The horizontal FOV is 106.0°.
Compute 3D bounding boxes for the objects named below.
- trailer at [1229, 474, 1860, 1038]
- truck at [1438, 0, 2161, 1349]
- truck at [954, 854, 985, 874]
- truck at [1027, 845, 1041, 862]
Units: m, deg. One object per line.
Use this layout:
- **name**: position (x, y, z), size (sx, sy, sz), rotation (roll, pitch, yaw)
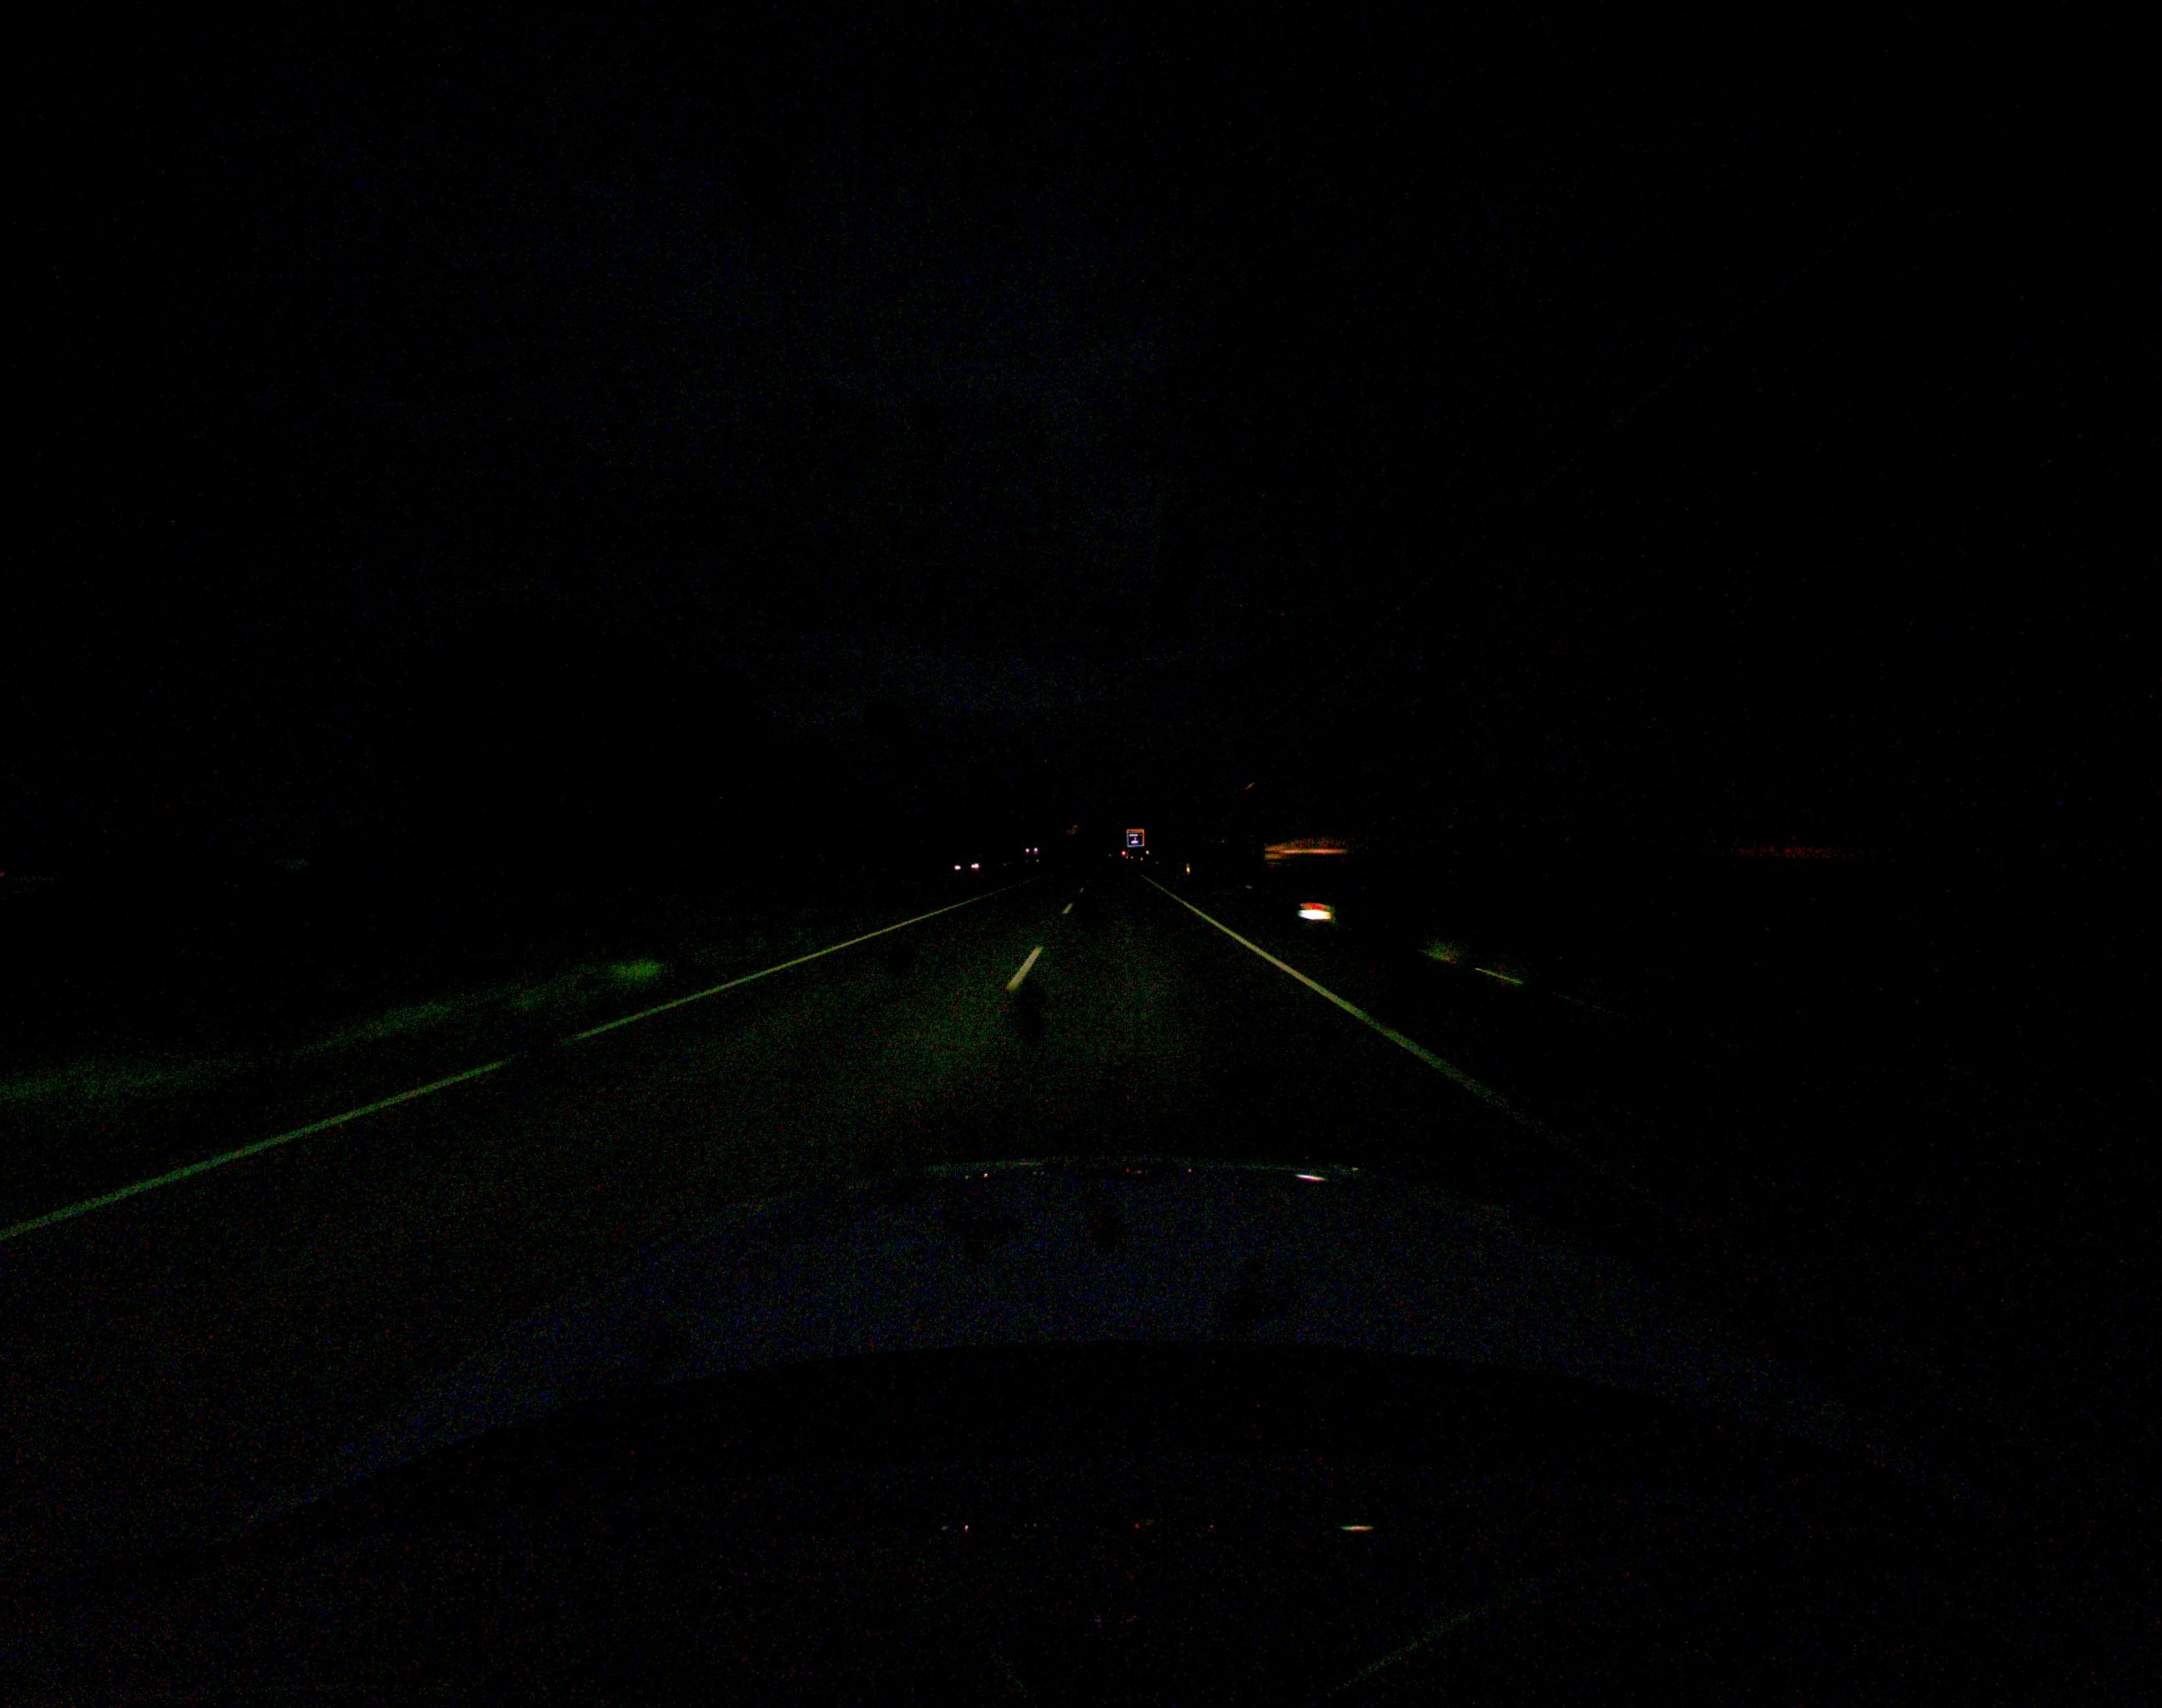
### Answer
- **trailer**: position (4.614, -0.739, 12.534), size (2.612, 4.104, 12.943), rotation (-2, 0, 2)
- **truck**: position (4.370, -0.678, 4.132), size (2.570, 4.071, 6.132), rotation (-1, 1, 2)
- **truck**: position (-9.870, 0.863, 72.479), size (2.009, 1.653, 4.774), rotation (0, 0, 1)
- **truck**: position (-9.435, -0.120, 164.200), size (2.210, 3.445, 6.720), rotation (0, 0, 3)
